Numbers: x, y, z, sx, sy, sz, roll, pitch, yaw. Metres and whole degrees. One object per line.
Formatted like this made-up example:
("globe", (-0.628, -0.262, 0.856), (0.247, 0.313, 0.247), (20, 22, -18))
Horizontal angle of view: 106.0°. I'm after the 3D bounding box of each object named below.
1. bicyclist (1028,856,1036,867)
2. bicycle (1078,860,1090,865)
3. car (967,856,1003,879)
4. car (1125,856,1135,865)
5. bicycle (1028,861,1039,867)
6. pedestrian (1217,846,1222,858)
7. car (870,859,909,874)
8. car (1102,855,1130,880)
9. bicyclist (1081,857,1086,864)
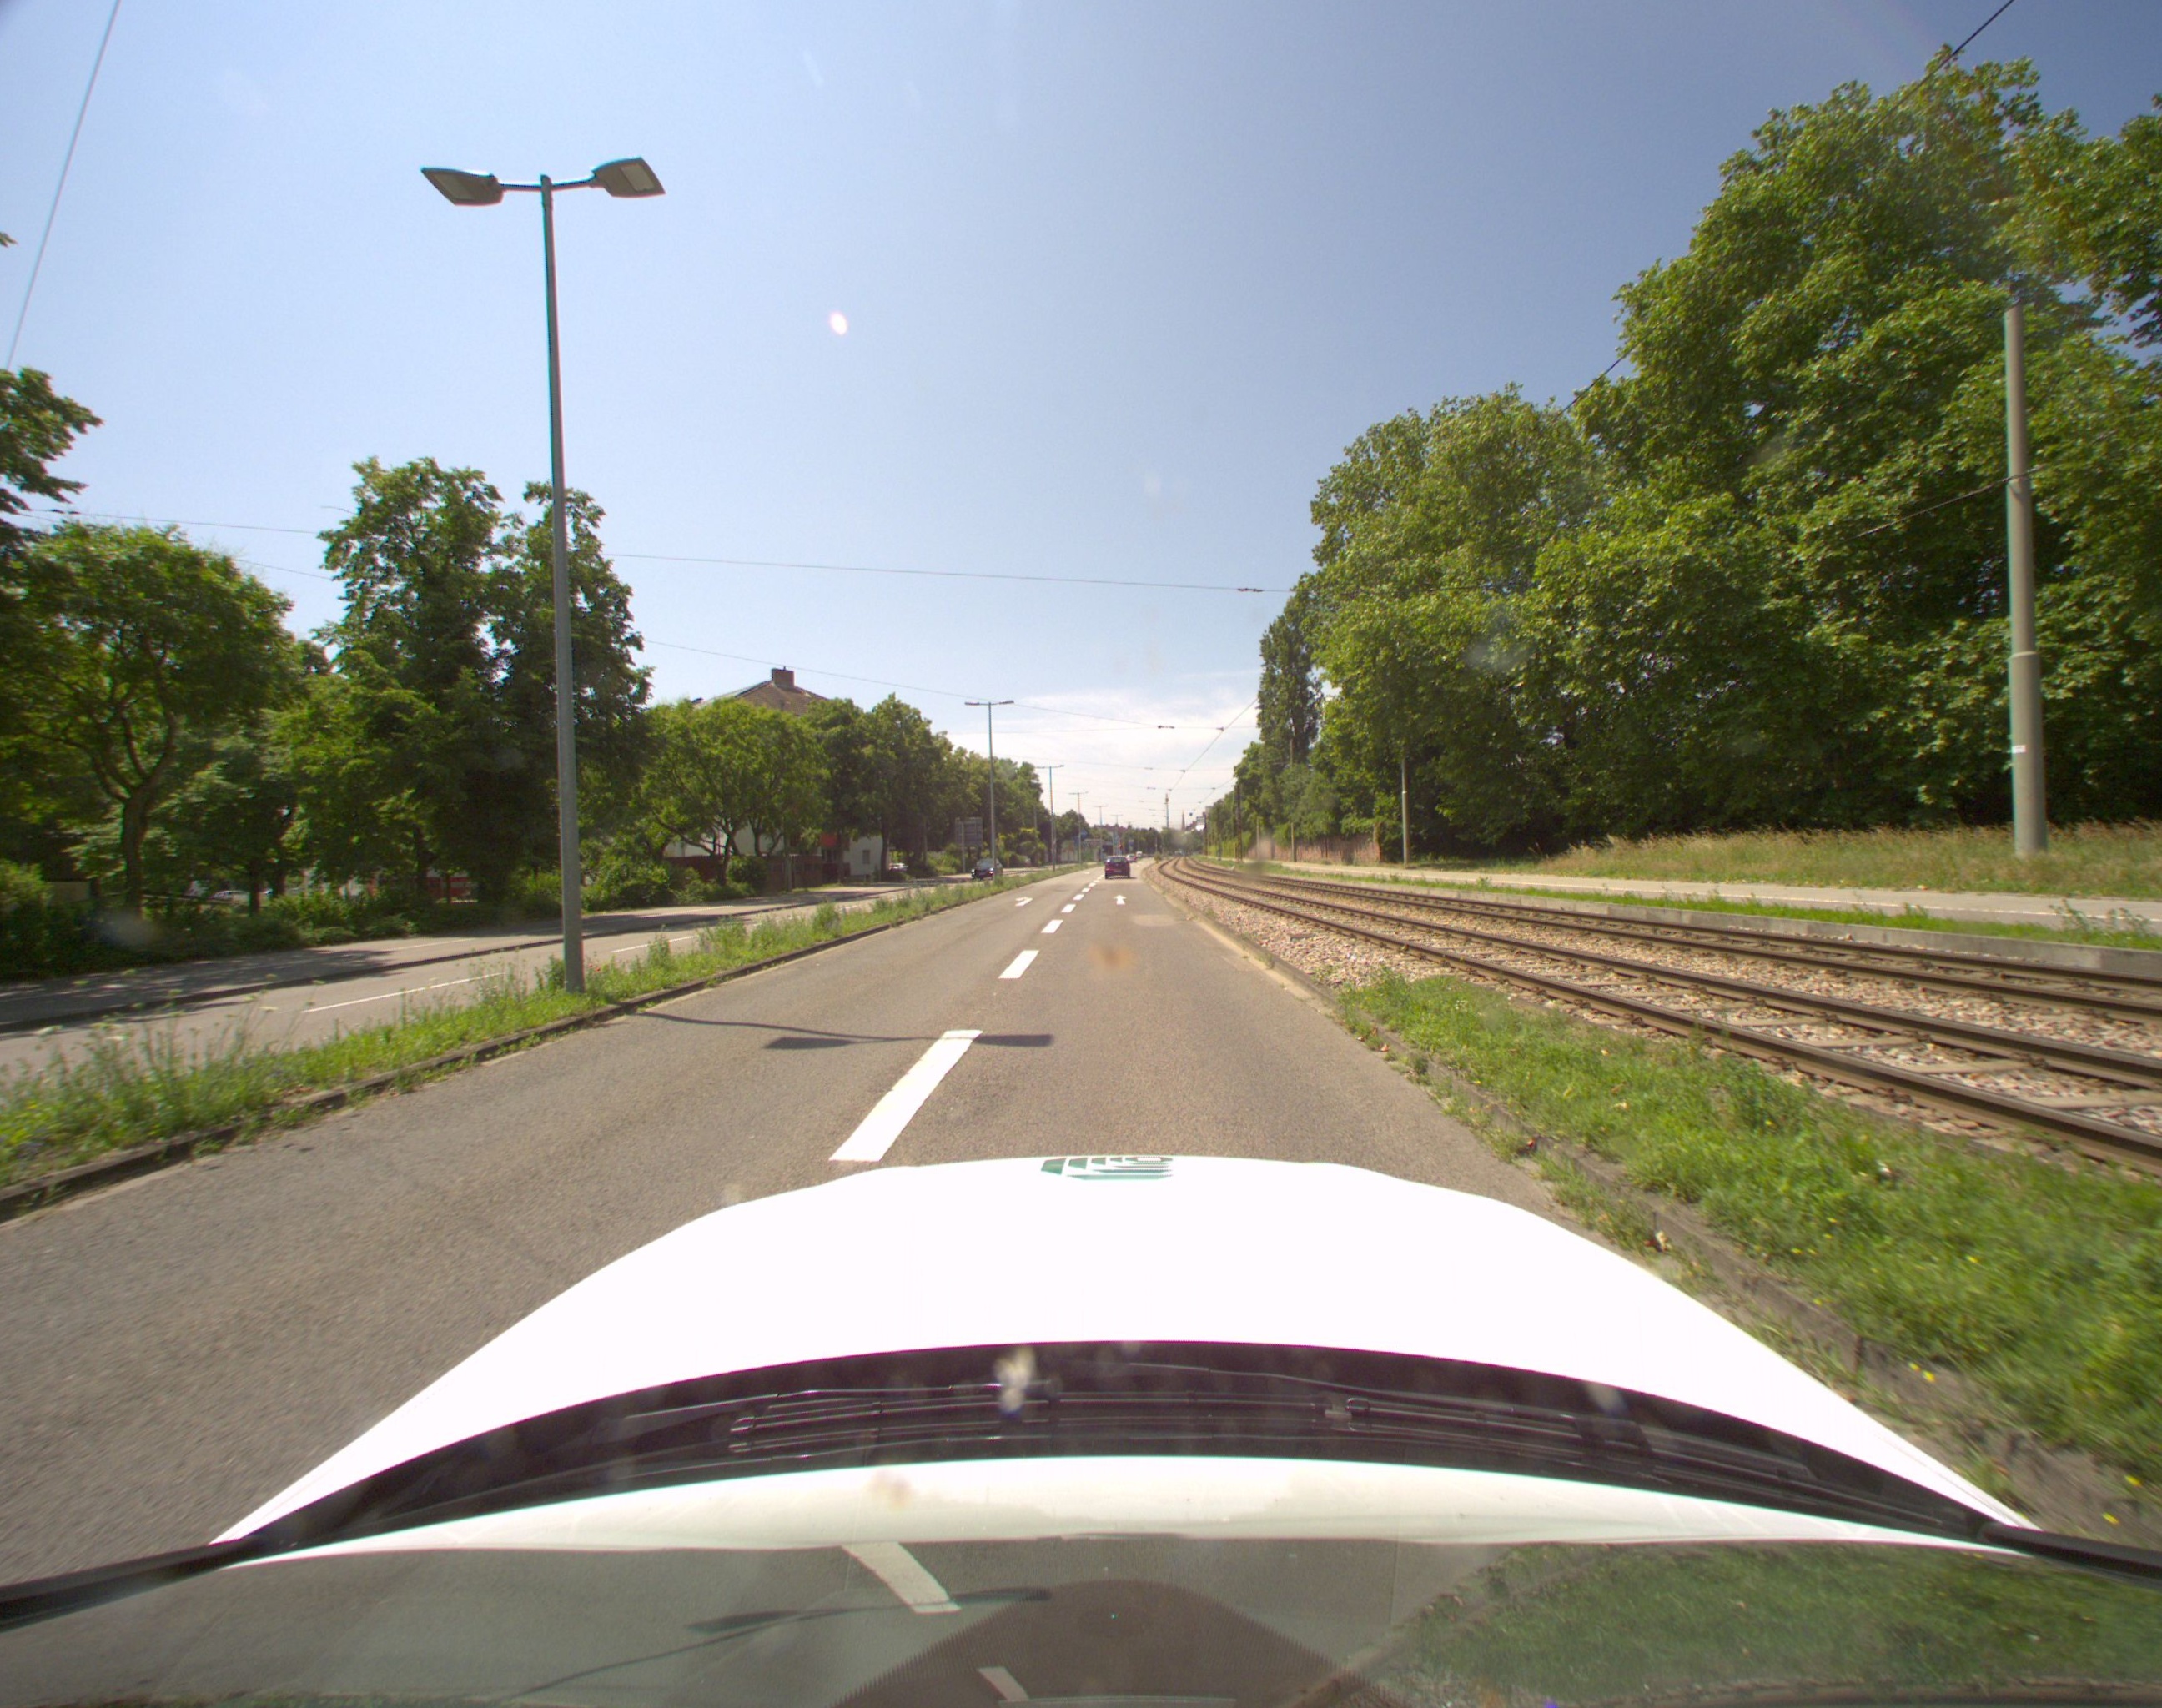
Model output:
("bicyclist", (-6.889, 1.049, 115.003), (0.968, 1.403, 0.486), (-2, 0, -35))
("bicycle", (0.642, 1.976, 183.355), (2.548, 1.038, 1.085), (-1, -1, -7))
("car", (-7.489, 1.046, 64.137), (1.915, 1.626, 4.760), (-3, -1, 3))
("car", (8.798, 1.200, 146.460), (1.696, 1.481, 3.718), (-1, -1, 2))
("bicycle", (-6.699, 1.360, 115.132), (1.438, 0.773, 0.492), (-3, 0, -35))
("pedestrian", (20.085, -0.289, 117.911), (0.658, 1.726, 0.818), (-2, 0, 6))
("car", (-25.322, 1.595, 107.652), (4.656, 1.758, 1.998), (-3, 0, -4))
("car", (2.320, 0.880, 52.558), (1.695, 1.477, 3.719), (-1, -1, 3))
("bicyclist", (0.586, 1.506, 183.385), (0.943, 1.593, 1.085), (-1, -1, -7))
